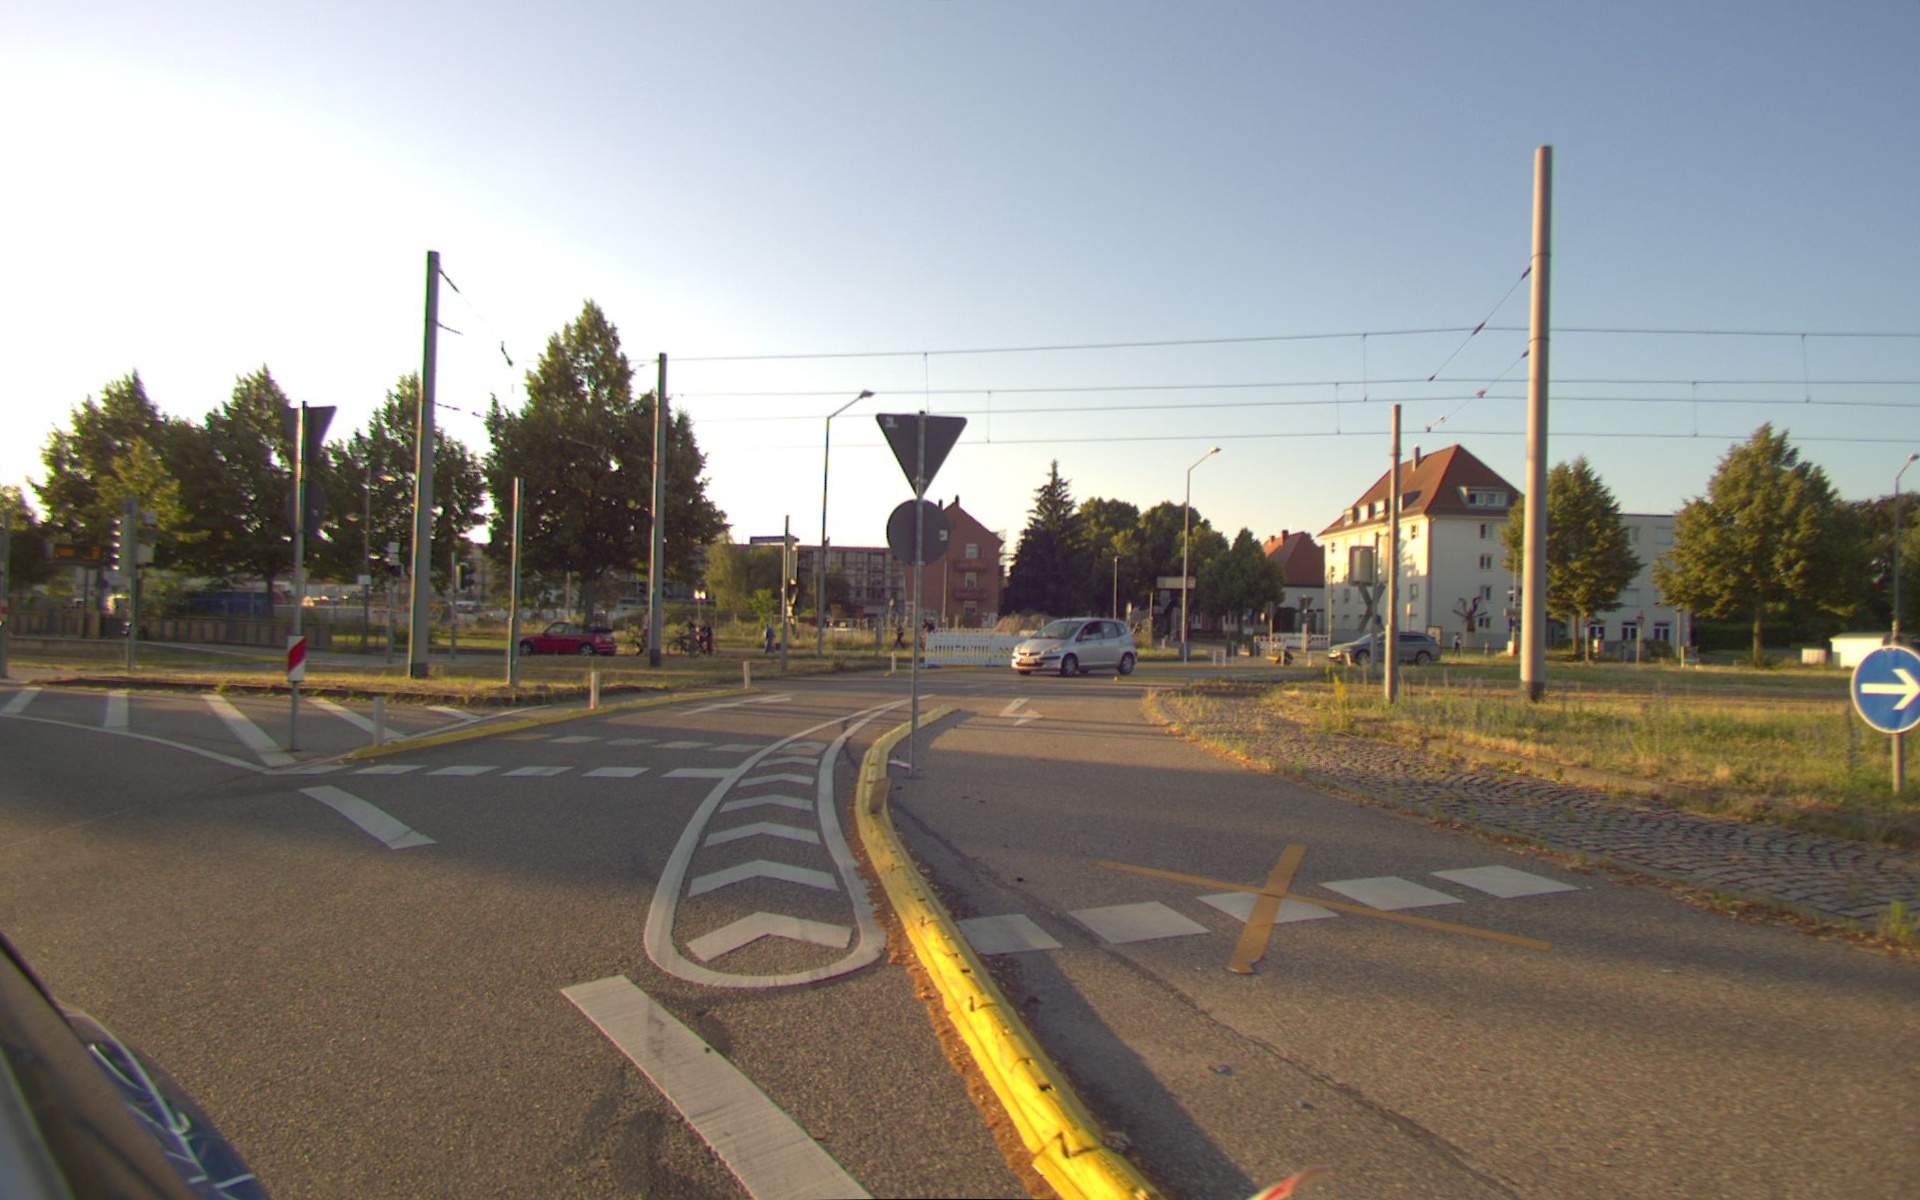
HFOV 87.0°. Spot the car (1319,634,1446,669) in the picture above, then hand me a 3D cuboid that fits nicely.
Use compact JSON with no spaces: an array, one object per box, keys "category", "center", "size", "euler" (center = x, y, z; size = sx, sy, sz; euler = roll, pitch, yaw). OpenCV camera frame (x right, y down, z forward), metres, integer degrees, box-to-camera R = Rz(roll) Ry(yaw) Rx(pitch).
[{"category":"car","center":[17.948,2.183,43.097],"size":[4.579,1.426,1.934],"euler":[1,-1,-6]}]

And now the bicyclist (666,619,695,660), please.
[{"category":"bicyclist","center":[-11.354,1.598,41.095],"size":[0.809,1.653,0.809],"euler":[0,-1,22]}]

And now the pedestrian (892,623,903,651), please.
[{"category":"pedestrian","center":[-3.089,1.853,50.135],"size":[0.495,1.376,0.435],"euler":[1,-1,-12]}]

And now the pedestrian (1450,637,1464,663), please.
[{"category":"pedestrian","center":[31.718,3.165,64.580],"size":[0.585,1.633,0.567],"euler":[1,-1,-5]}]

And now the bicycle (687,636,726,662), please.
[{"category":"bicycle","center":[-10.169,1.953,40.633],"size":[0.533,0.988,1.830],"euler":[0,-1,22]}]

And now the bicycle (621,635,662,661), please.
[{"category":"bicycle","center":[-12.915,1.939,41.055],"size":[0.546,0.988,1.830],"euler":[0,-1,22]}]

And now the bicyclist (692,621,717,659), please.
[{"category":"bicyclist","center":[-10.220,1.593,40.518],"size":[0.588,1.517,0.809],"euler":[0,-1,22]}]

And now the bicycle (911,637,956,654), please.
[{"category":"bicycle","center":[-1.282,2.207,49.142],"size":[2.098,0.852,0.514],"euler":[1,-2,-22]}]

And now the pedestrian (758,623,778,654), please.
[{"category":"pedestrian","center":[-8.754,1.749,46.141],"size":[0.690,1.376,0.614],"euler":[0,-1,22]}]

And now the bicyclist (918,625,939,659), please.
[{"category":"bicyclist","center":[-1.513,2.030,48.953],"size":[0.784,1.646,0.698],"euler":[1,-2,-22]}]

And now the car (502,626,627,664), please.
[{"category":"car","center":[-14.718,1.642,37.727],"size":[3.953,1.342,1.829],"euler":[0,-1,8]}]

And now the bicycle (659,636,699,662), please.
[{"category":"bicycle","center":[-11.397,1.969,41.080],"size":[0.546,0.988,1.830],"euler":[0,-1,22]}]

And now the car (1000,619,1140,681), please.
[{"category":"car","center":[2.908,1.266,26.383],"size":[3.654,1.476,1.608],"euler":[2,-2,-42]}]

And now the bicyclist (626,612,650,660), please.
[{"category":"bicyclist","center":[-12.998,1.449,40.870],"size":[0.611,1.933,0.673],"euler":[0,-1,22]}]
